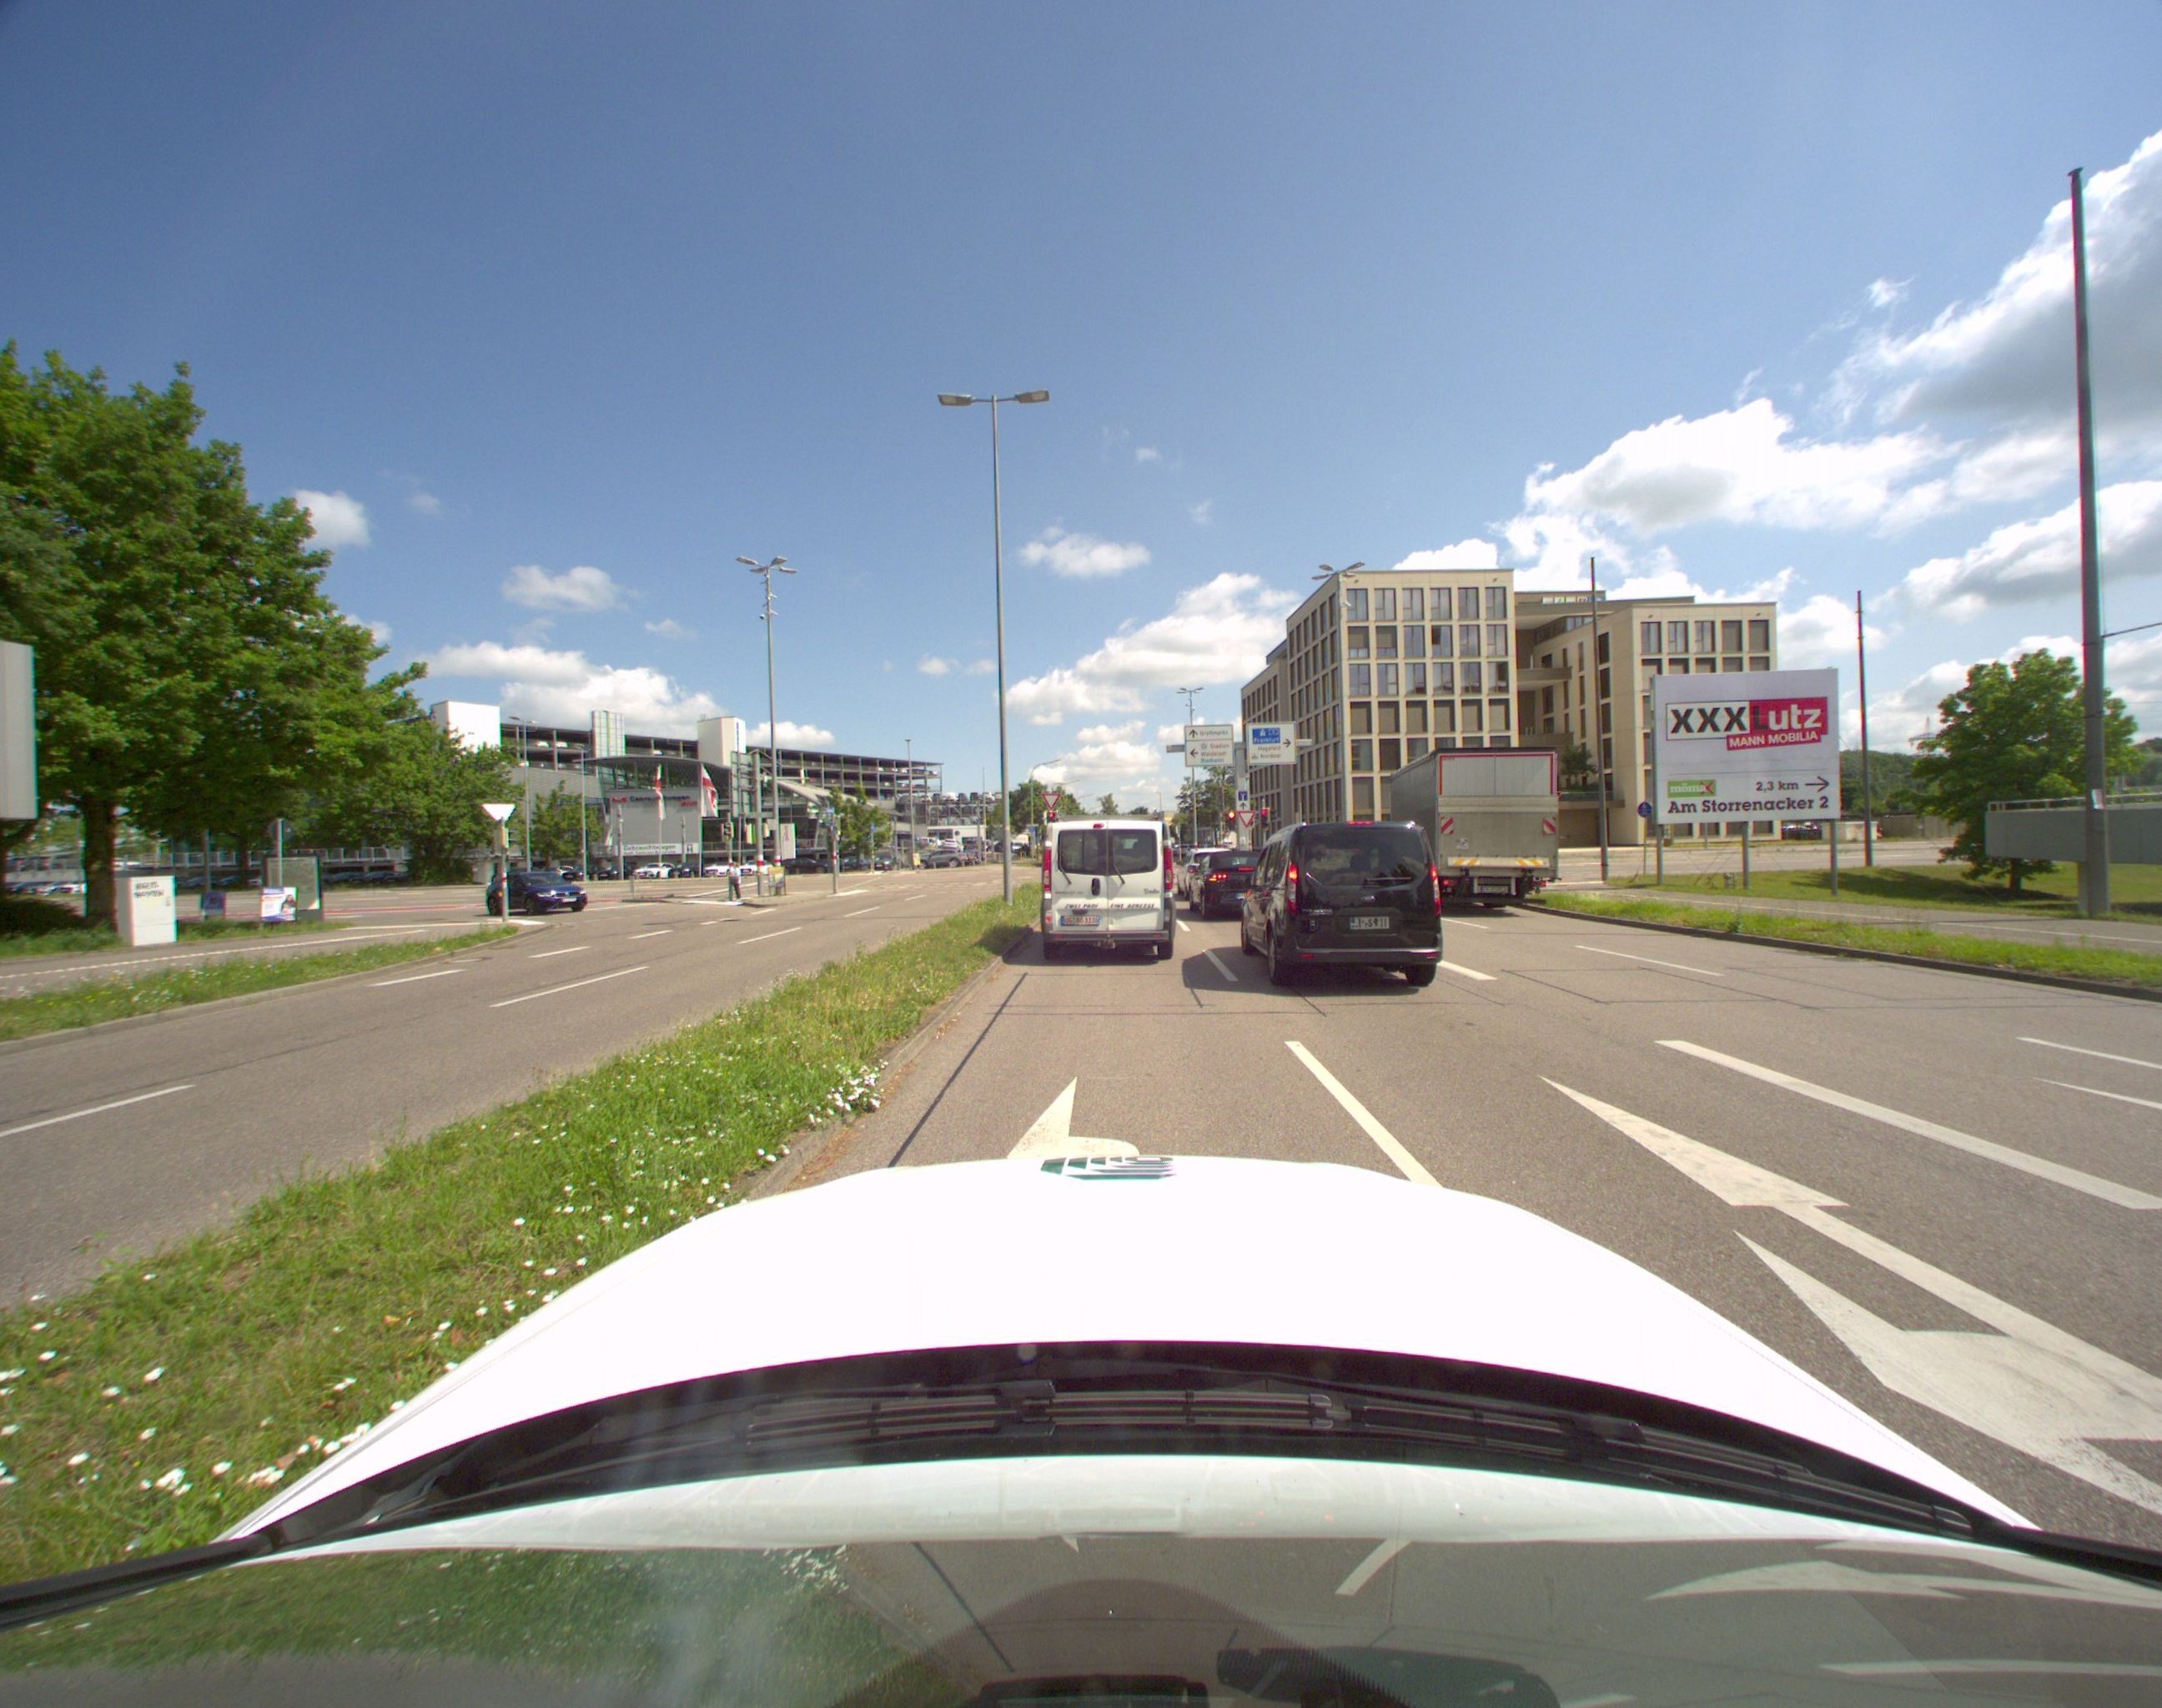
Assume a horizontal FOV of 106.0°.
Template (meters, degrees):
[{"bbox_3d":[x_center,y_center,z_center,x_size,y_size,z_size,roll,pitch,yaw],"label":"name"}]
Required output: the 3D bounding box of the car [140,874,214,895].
[{"bbox_3d":[-68.247,2.303,61.566,1.585,1.390,3.506,-1,0,2],"label":"car"}]

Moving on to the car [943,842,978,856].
[{"bbox_3d":[-15.089,-0.608,102.231,4.157,1.712,1.686,0,1,-4],"label":"car"}]

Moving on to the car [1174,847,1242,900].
[{"bbox_3d":[3.950,0.568,25.843,1.733,1.543,4.003,0,0,3],"label":"car"}]

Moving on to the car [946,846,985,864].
[{"bbox_3d":[-12.295,0.143,87.051,3.902,1.712,1.688,-3,1,-2],"label":"car"}]

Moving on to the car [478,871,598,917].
[{"bbox_3d":[-20.909,1.524,31.382,3.950,1.509,2.012,-2,3,26],"label":"car"}]

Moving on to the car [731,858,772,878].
[{"bbox_3d":[-26.520,1.068,65.715,1.771,1.450,4.027,-1,1,-2],"label":"car"}]

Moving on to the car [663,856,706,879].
[{"bbox_3d":[-31.787,1.049,65.391,1.752,1.660,3.614,-1,1,-2],"label":"car"}]

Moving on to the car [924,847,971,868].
[{"bbox_3d":[-12.062,0.307,73.876,3.902,1.712,1.688,-3,1,-2],"label":"car"}]

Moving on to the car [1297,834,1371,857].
[{"bbox_3d":[19.070,-0.655,61.505,4.968,1.607,1.999,-1,1,-1],"label":"car"}]

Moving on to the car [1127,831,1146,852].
[{"bbox_3d":[6.427,-1.459,94.548,1.986,2.255,5.517,-1,1,2],"label":"car"}]

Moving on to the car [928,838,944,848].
[{"bbox_3d":[-22.259,-1.736,125.190,1.841,1.530,3.997,-1,1,-2],"label":"car"}]

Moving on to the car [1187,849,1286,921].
[{"bbox_3d":[3.525,0.650,19.064,1.733,1.495,4.003,0,0,3],"label":"car"}]

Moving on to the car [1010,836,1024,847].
[{"bbox_3d":[-9.727,-1.906,123.770,1.841,1.530,3.997,-1,1,-2],"label":"car"}]

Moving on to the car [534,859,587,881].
[{"bbox_3d":[-41.385,1.247,64.856,1.810,1.664,3.790,-1,0,-2],"label":"car"}]

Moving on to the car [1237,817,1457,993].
[{"bbox_3d":[3.116,0.509,10.382,1.811,1.808,4.006,0,0,5],"label":"car"}]

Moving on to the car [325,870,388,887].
[{"bbox_3d":[-55.622,1.856,62.606,1.585,1.191,3.506,-1,0,2],"label":"car"}]

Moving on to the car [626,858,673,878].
[{"bbox_3d":[-34.602,1.088,65.356,1.874,1.486,3.697,-1,1,-3],"label":"car"}]

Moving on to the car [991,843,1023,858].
[{"bbox_3d":[-9.377,-0.456,102.899,3.980,1.925,1.824,-1,0,-5],"label":"car"}]

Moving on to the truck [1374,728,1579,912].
[{"bbox_3d":[10.173,-0.803,22.156,3.108,3.940,8.891,-1,1,13],"label":"truck"}]

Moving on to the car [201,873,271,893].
[{"bbox_3d":[-64.266,2.201,61.978,1.585,1.390,3.506,-1,0,2],"label":"car"}]

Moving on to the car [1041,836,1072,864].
[{"bbox_3d":[-2.078,-0.366,71.071,1.962,2.256,4.988,-3,1,5],"label":"car"}]

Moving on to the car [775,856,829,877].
[{"bbox_3d":[-22.473,1.002,65.677,3.784,1.513,1.677,-1,1,-4],"label":"car"}]

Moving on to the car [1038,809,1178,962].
[{"bbox_3d":[0.500,0.422,12.836,1.847,2.018,4.004,0,0,4],"label":"car"}]

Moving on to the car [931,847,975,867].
[{"bbox_3d":[-12.313,0.298,78.473,3.902,1.712,1.688,-3,1,-2],"label":"car"}]

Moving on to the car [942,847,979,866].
[{"bbox_3d":[-12.126,0.224,82.052,3.499,1.712,1.602,-3,1,-2],"label":"car"}]

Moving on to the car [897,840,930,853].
[{"bbox_3d":[-22.761,-0.991,110.723,4.157,1.713,1.686,-1,0,-4],"label":"car"}]

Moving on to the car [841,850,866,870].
[{"bbox_3d":[-18.563,0.506,66.555,1.820,1.552,3.980,-1,0,-15],"label":"car"}]

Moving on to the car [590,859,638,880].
[{"bbox_3d":[-37.430,1.242,65.321,1.723,1.486,3.699,-1,1,-2],"label":"car"}]

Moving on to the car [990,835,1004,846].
[{"bbox_3d":[-12.717,-2.019,123.625,1.841,1.530,3.997,-1,1,-2],"label":"car"}]

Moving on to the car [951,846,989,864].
[{"bbox_3d":[-12.309,0.082,90.425,3.902,1.712,1.688,-3,1,-2],"label":"car"}]

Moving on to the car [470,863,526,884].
[{"bbox_3d":[-45.325,1.488,63.400,1.833,1.488,3.697,-1,1,-3],"label":"car"}]

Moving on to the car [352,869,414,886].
[{"bbox_3d":[-53.482,1.800,62.475,1.585,1.191,3.506,-1,0,2],"label":"car"}]

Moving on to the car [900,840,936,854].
[{"bbox_3d":[-20.230,-0.872,100.906,4.157,1.713,1.686,-1,0,-4],"label":"car"}]

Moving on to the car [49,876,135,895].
[{"bbox_3d":[-77.664,2.468,64.045,1.791,1.254,4.003,-1,1,2],"label":"car"}]

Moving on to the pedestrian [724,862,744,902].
[{"bbox_3d":[-13.629,1.092,31.976,0.464,1.512,0.515,-1,0,27],"label":"pedestrian"}]

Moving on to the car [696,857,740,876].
[{"bbox_3d":[-29.237,1.020,65.747,1.902,1.376,3.750,-1,1,-2],"label":"car"}]

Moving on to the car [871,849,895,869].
[{"bbox_3d":[-16.216,0.380,66.557,1.820,1.552,3.980,-1,0,-15],"label":"car"}]

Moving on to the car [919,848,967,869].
[{"bbox_3d":[-12.087,0.400,71.425,3.851,1.639,1.857,-3,1,-2],"label":"car"}]
